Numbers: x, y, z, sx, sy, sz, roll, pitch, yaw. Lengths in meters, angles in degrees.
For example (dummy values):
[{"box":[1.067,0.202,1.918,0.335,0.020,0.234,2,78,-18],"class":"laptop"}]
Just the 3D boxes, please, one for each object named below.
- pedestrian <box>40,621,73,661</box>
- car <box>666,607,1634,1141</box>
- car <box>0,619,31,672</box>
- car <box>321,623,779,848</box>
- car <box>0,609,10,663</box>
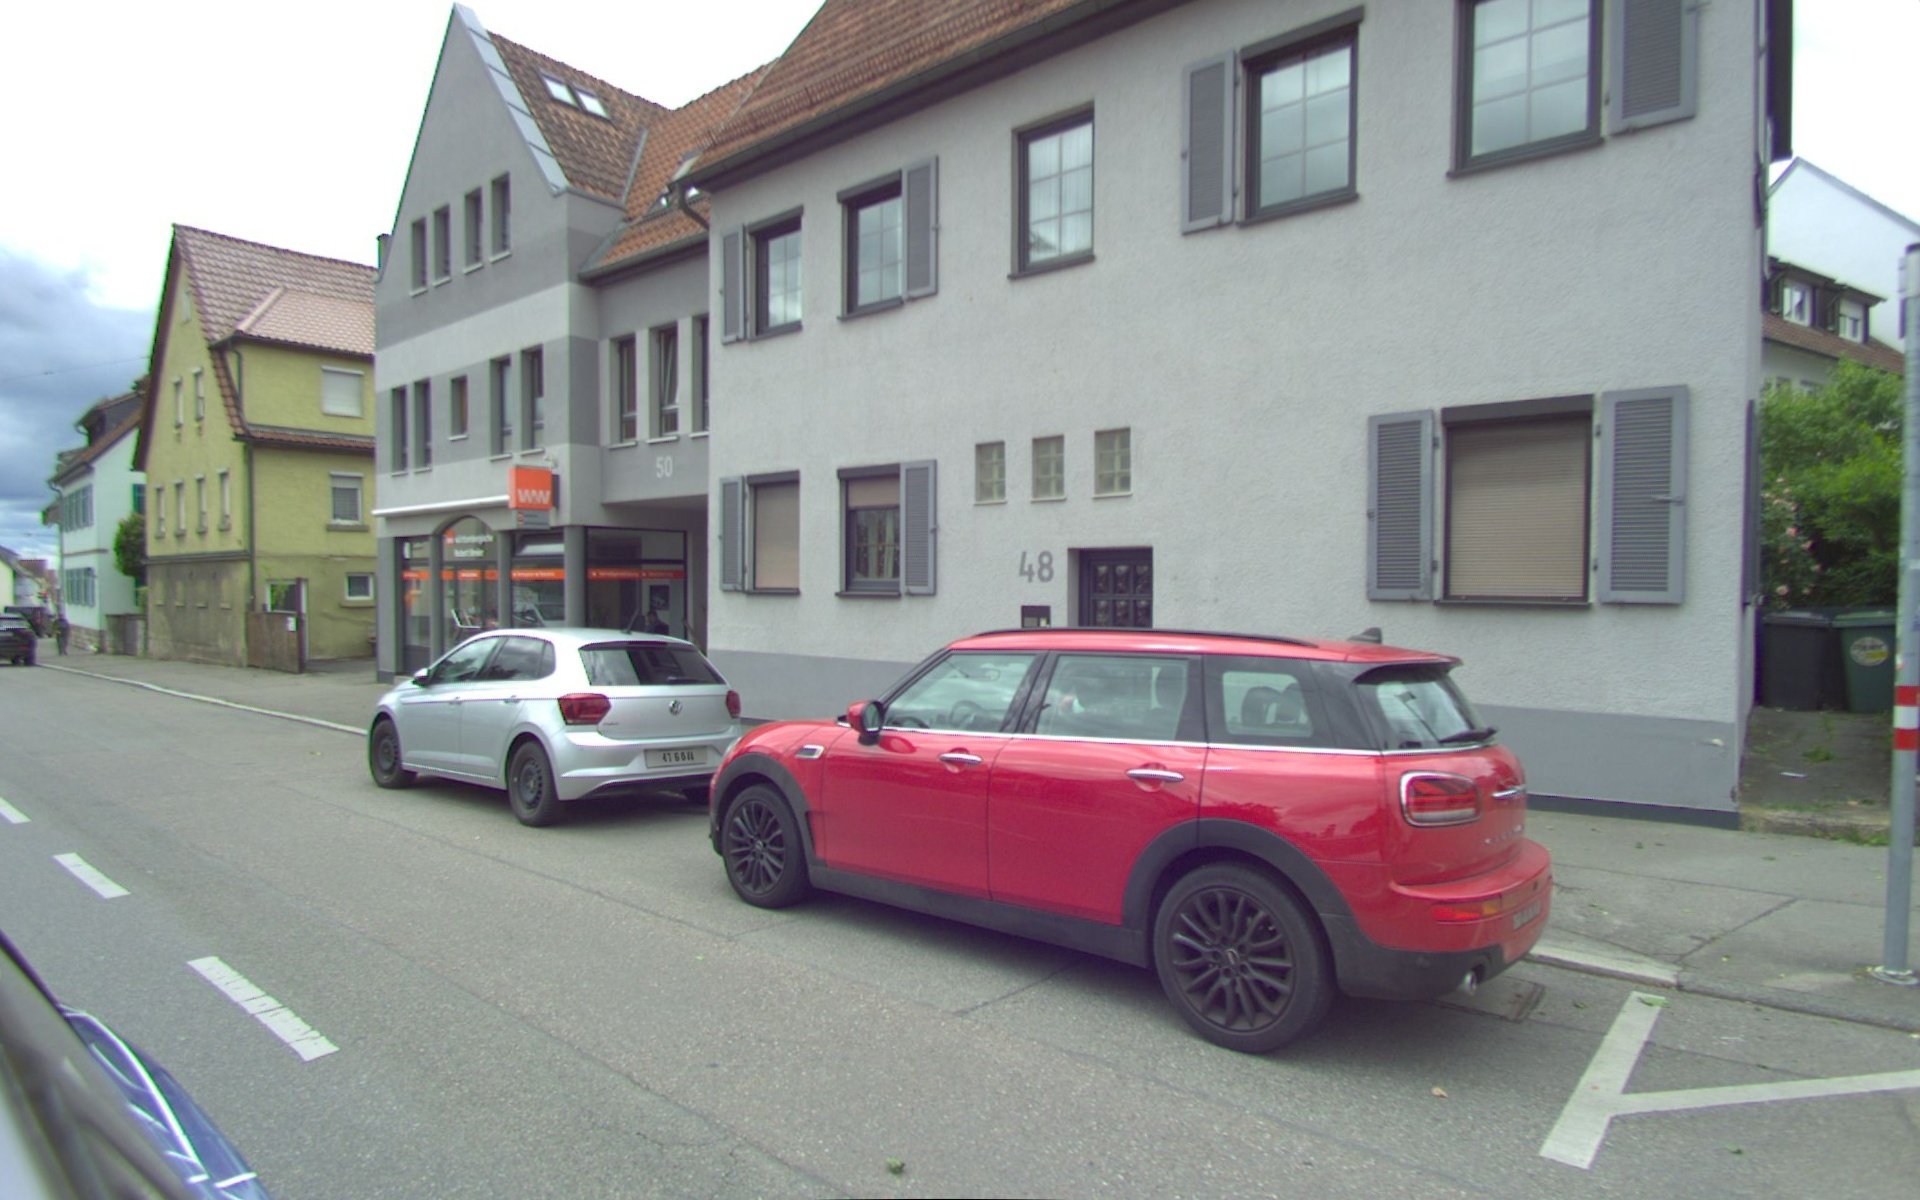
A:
[{"box":[-32.389,1.456,36.290,0.551,1.386,0.821,-1,-1,41],"class":"pedestrian"},{"box":[0.582,0.841,4.982,4.350,1.485,1.839,-2,-3,41],"class":"car"},{"box":[-30.360,1.384,31.387,4.348,1.580,1.696,-1,-1,40],"class":"car"},{"box":[-3.689,0.960,8.748,4.347,1.485,1.760,-1,-3,39],"class":"car"},{"box":[-35.105,1.276,35.476,4.348,1.863,2.085,-1,-1,40],"class":"car"}]
